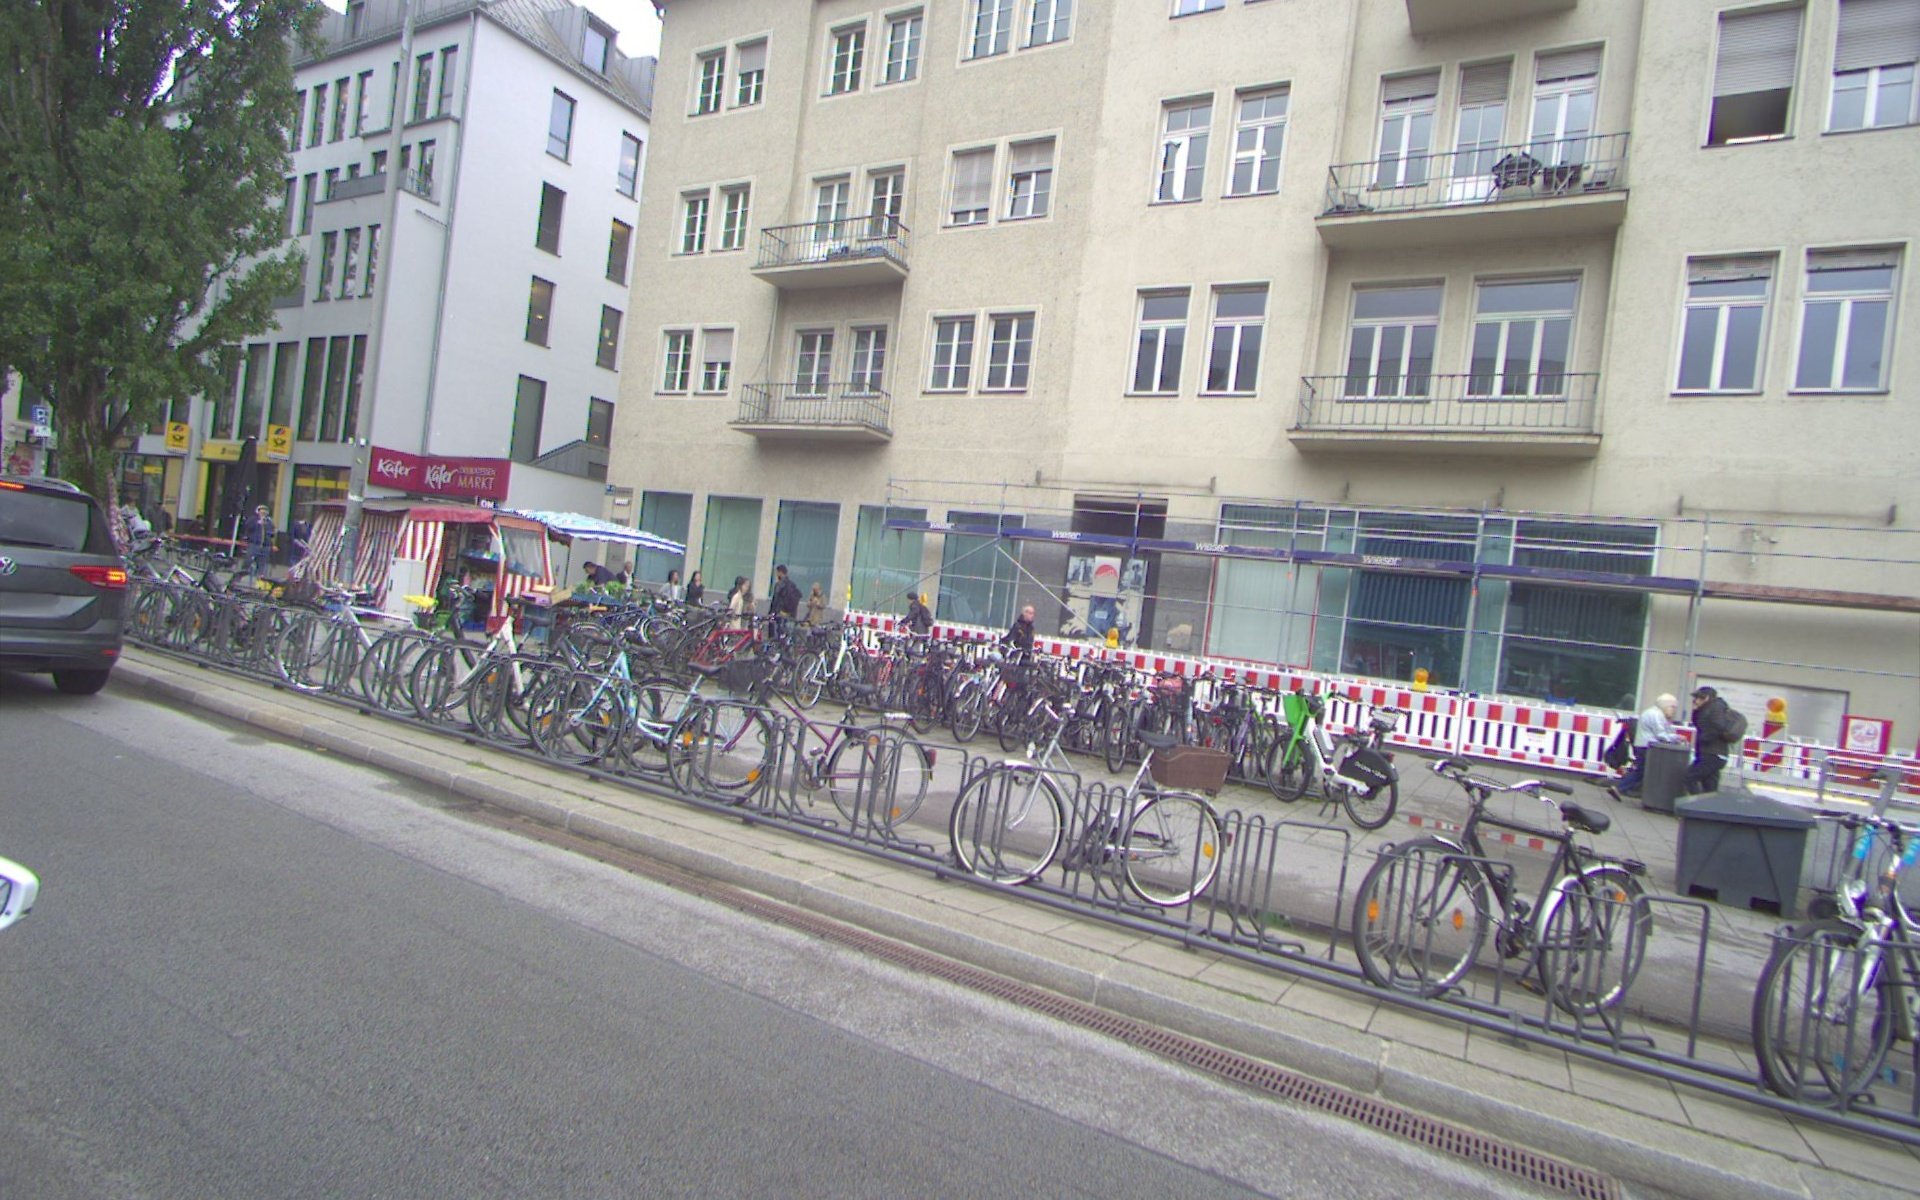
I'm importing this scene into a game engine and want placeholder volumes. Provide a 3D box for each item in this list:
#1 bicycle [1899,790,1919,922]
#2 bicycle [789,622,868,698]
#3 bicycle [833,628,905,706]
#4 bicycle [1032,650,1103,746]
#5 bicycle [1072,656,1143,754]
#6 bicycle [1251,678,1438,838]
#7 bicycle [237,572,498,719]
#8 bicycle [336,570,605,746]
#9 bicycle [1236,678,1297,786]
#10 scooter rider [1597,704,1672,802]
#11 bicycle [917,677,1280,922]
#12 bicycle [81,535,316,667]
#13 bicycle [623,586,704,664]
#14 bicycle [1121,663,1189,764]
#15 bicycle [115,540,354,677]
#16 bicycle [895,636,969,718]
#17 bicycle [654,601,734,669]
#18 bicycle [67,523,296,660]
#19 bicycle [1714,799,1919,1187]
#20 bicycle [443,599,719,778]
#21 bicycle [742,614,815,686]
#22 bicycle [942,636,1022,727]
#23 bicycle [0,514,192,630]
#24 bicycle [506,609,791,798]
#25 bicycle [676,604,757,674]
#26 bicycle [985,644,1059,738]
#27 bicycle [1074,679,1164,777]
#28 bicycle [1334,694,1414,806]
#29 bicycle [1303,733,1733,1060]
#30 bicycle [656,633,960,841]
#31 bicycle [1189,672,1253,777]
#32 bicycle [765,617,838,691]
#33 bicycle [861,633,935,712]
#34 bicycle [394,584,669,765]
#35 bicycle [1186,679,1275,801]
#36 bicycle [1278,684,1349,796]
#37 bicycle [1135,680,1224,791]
[{"bbox_3d":[7.499,2.006,7.439,0.363,0.976,1.756,7,0,31],"label":"bicycle"},{"bbox_3d":[-1.846,0.853,14.251,0.363,0.993,1.246,7,0,28],"label":"bicycle"},{"bbox_3d":[-1.254,0.928,14.016,0.362,0.993,1.247,7,0,22],"label":"bicycle"},{"bbox_3d":[1.363,1.203,12.593,0.362,1.088,1.331,7,0,24],"label":"bicycle"},{"bbox_3d":[1.823,1.257,12.285,0.362,1.088,1.430,7,0,24],"label":"bicycle"},{"bbox_3d":[3.513,1.419,9.358,0.365,1.155,1.712,6,0,-26],"label":"bicycle"},{"bbox_3d":[-5.195,0.404,8.936,1.811,1.065,0.584,7,0,-17],"label":"bicycle"},{"bbox_3d":[-3.964,0.483,8.298,1.811,1.212,0.584,7,0,-17],"label":"bicycle"},{"bbox_3d":[3.531,1.471,11.522,0.362,1.088,1.554,7,0,24],"label":"bicycle"},{"bbox_3d":[9.641,2.170,14.410,0.707,1.235,0.686,7,2,29],"label":"scooter rider"},{"bbox_3d":[0.767,1.103,5.521,1.781,1.125,0.648,7,0,-23],"label":"bicycle"},{"bbox_3d":[-8.081,0.025,10.761,1.811,1.150,0.584,7,0,-17],"label":"bicycle"},{"bbox_3d":[-4.722,0.412,16.079,0.363,1.154,1.246,7,0,29],"label":"bicycle"},{"bbox_3d":[2.358,1.325,12.051,0.362,1.088,1.430,7,0,24],"label":"bicycle"},{"bbox_3d":[-7.434,0.096,10.391,1.811,1.150,0.584,7,0,-17],"label":"bicycle"},{"bbox_3d":[-0.350,1.008,13.268,0.362,0.993,1.247,7,0,24],"label":"bicycle"},{"bbox_3d":[-4.170,0.564,15.854,0.363,0.993,1.246,7,0,29],"label":"bicycle"},{"bbox_3d":[-8.587,-0.085,11.177,1.810,1.256,0.584,7,0,-17],"label":"bicycle"},{"bbox_3d":[3.742,1.434,3.940,1.785,1.172,0.483,7,0,-30],"label":"bicycle"},{"bbox_3d":[-2.797,0.670,7.572,1.778,1.125,0.489,7,0,-17],"label":"bicycle"},{"bbox_3d":[-2.686,0.744,14.992,0.362,0.993,1.247,7,0,22],"label":"bicycle"},{"bbox_3d":[0.312,1.051,13.184,0.362,1.088,1.504,7,0,24],"label":"bicycle"},{"bbox_3d":[-10.558,-0.331,12.184,1.814,1.150,0.583,7,0,-24],"label":"bicycle"},{"bbox_3d":[-2.199,0.744,7.237,1.778,1.125,0.584,7,0,-17],"label":"bicycle"},{"bbox_3d":[-3.734,0.612,15.483,0.363,0.993,1.246,7,0,29],"label":"bicycle"},{"bbox_3d":[0.803,1.127,12.699,0.362,1.088,1.331,7,0,24],"label":"bicycle"},{"bbox_3d":[1.687,1.316,10.555,0.363,0.926,1.294,7,0,32],"label":"bicycle"},{"bbox_3d":[4.574,1.606,11.062,0.444,1.088,1.552,7,0,32],"label":"bicycle"},{"bbox_3d":[2.533,1.295,4.544,1.782,1.172,0.648,7,0,-24],"label":"bicycle"},{"bbox_3d":[-0.990,0.891,6.541,1.778,1.125,0.560,7,0,-18],"label":"bicycle"},{"bbox_3d":[3.050,1.411,11.707,0.362,1.088,1.430,7,0,24],"label":"bicycle"},{"bbox_3d":[-2.296,0.787,14.673,0.362,0.993,1.247,7,0,22],"label":"bicycle"},{"bbox_3d":[-0.822,0.976,13.655,0.362,0.993,1.247,7,0,24],"label":"bicycle"},{"bbox_3d":[-3.289,0.581,7.890,1.811,1.182,0.584,7,0,-17],"label":"bicycle"},{"bbox_3d":[2.732,1.363,10.076,0.363,1.090,1.419,7,0,32],"label":"bicycle"},{"bbox_3d":[3.981,1.528,11.268,0.443,1.088,1.553,7,0,26],"label":"bicycle"},{"bbox_3d":[2.262,1.348,10.261,0.363,1.012,1.316,7,0,32],"label":"bicycle"}]
